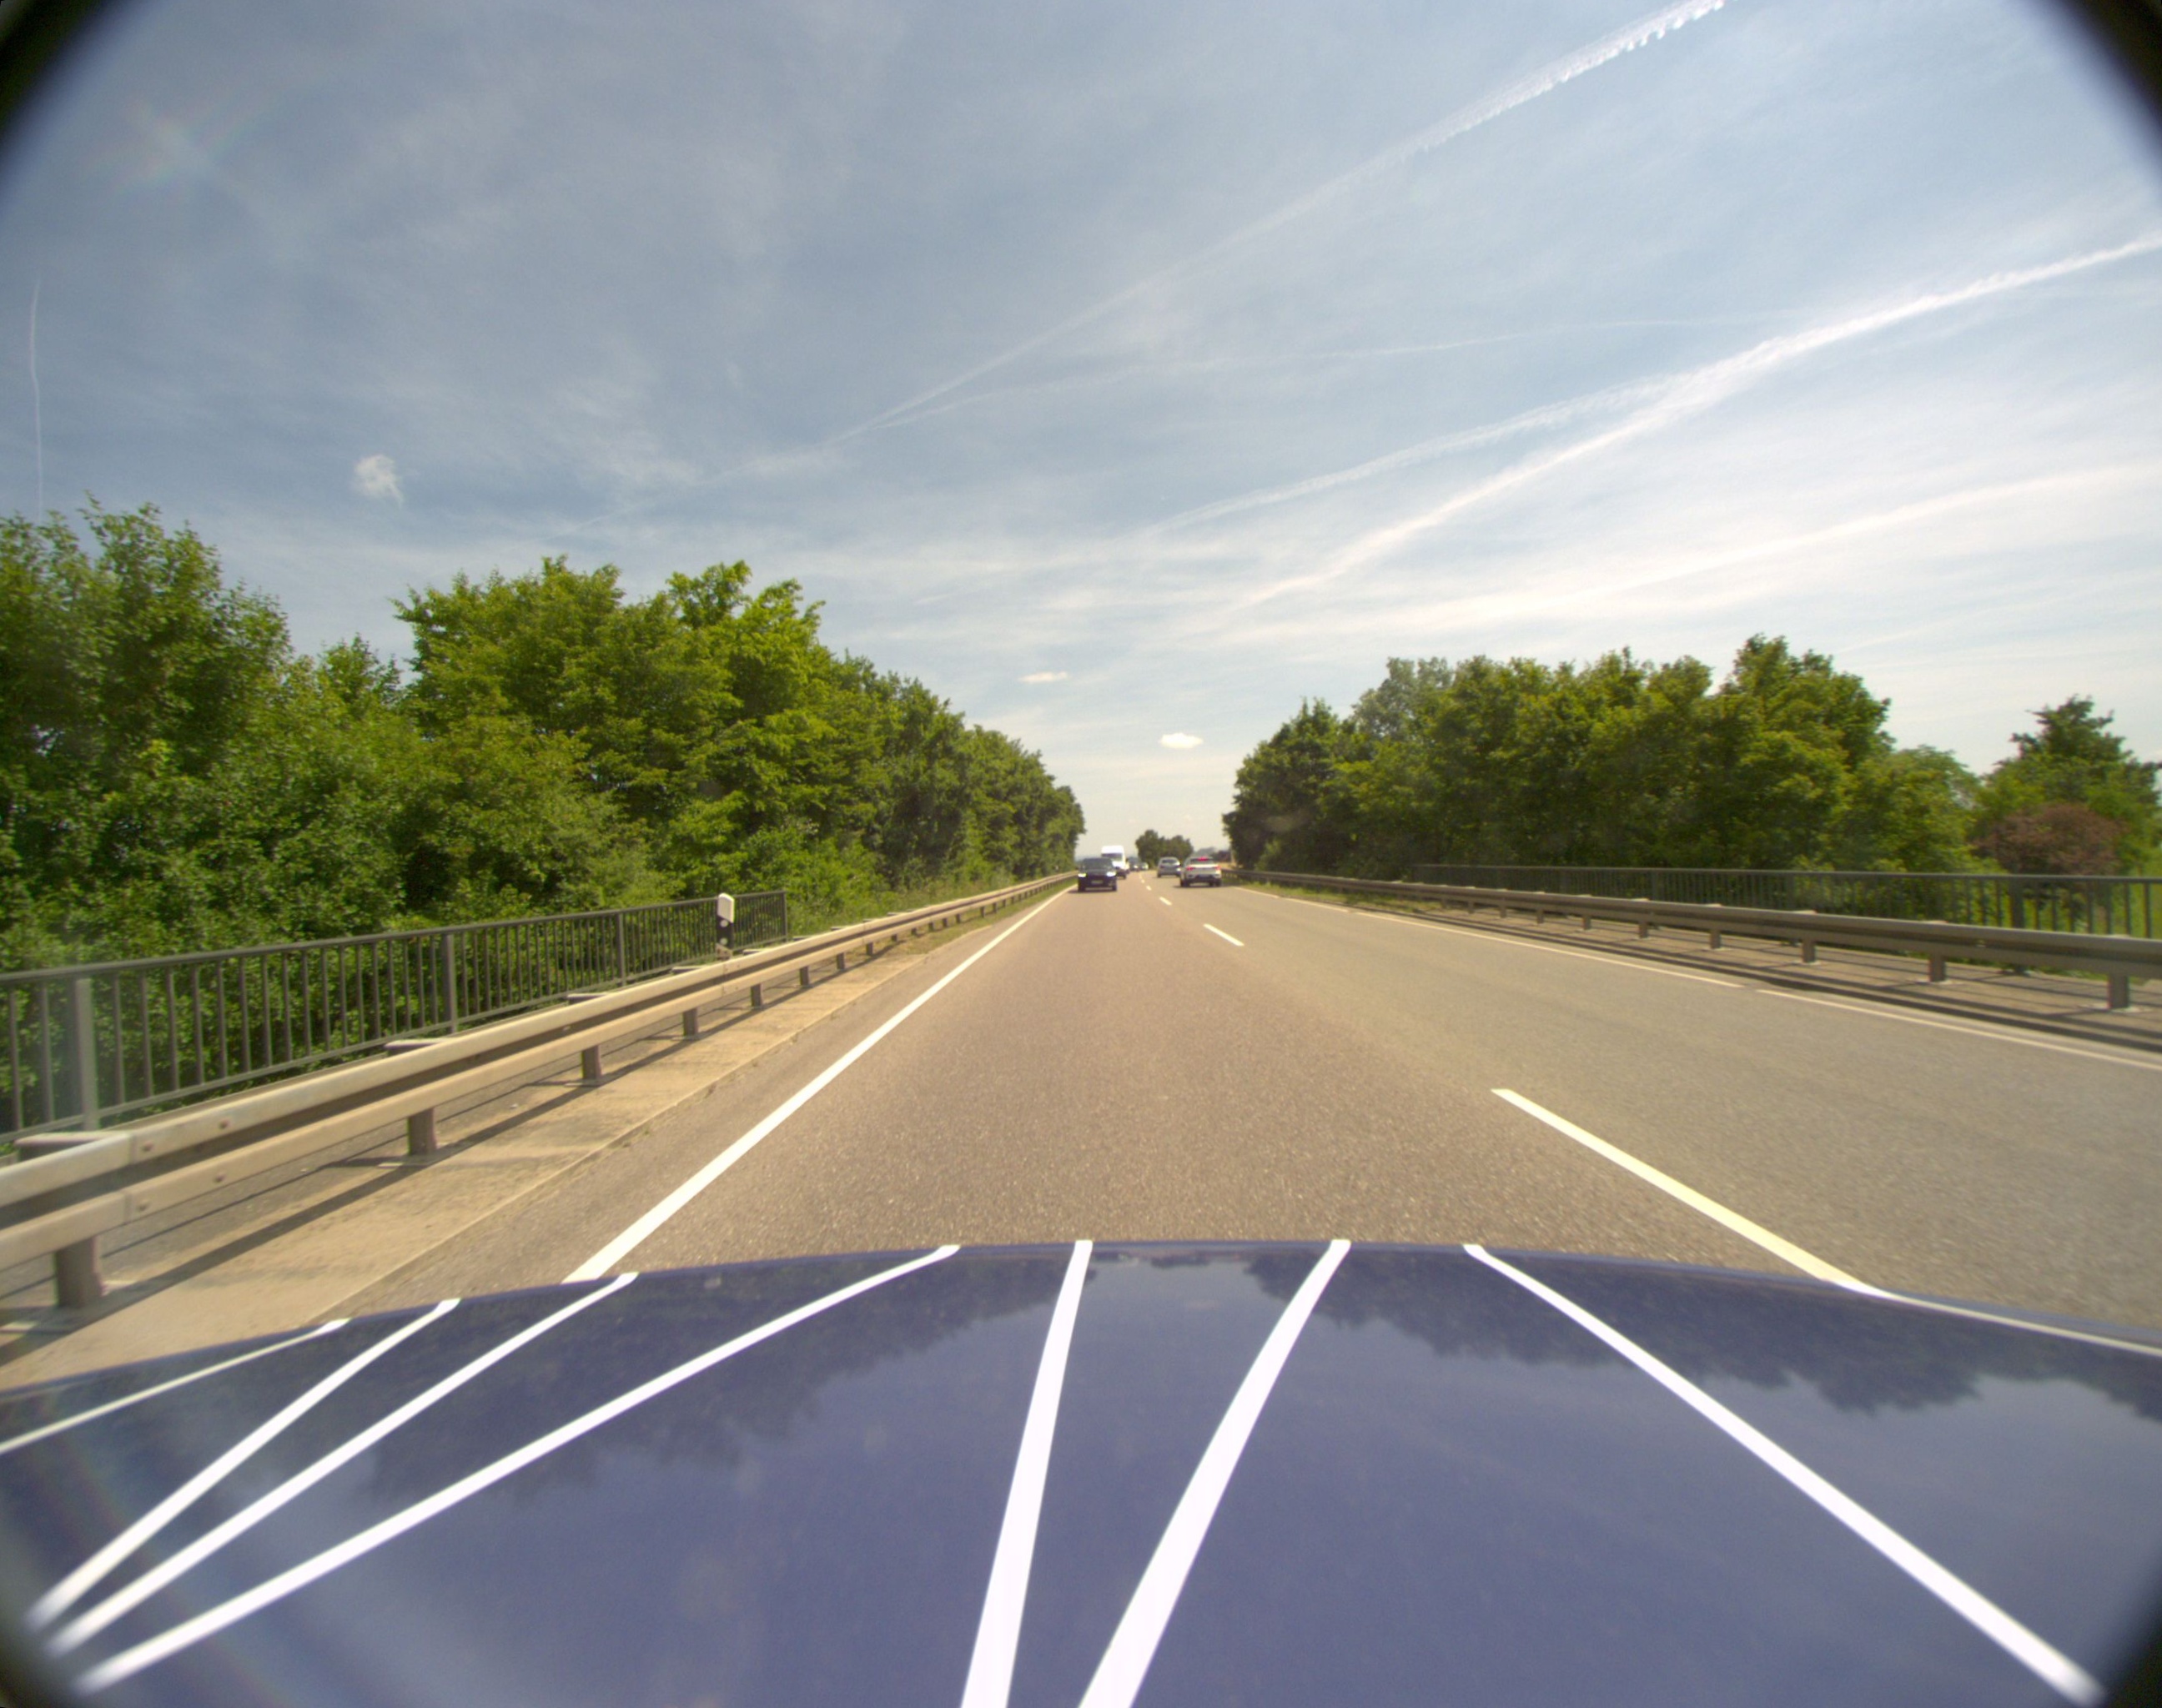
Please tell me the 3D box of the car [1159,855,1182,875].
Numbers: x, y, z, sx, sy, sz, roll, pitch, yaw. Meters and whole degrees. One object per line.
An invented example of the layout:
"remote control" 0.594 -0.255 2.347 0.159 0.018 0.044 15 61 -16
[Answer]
"car" 7.235 0.877 61.658 1.663 1.542 4.339 -1 0 4

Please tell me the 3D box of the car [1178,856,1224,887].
"car" 6.222 0.853 39.795 1.884 1.502 4.544 -1 0 3

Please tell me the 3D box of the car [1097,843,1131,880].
"car" 2.631 0.518 59.430 2.225 2.618 5.753 -2 2 5

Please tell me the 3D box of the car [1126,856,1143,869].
"car" 7.586 1.181 108.060 2.038 1.641 4.747 -1 0 8

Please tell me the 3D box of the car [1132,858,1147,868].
"car" 9.716 1.473 125.762 2.038 1.641 4.747 -1 0 8

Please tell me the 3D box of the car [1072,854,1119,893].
"car" 0.794 0.887 37.451 2.038 1.691 5.514 -1 0 3
